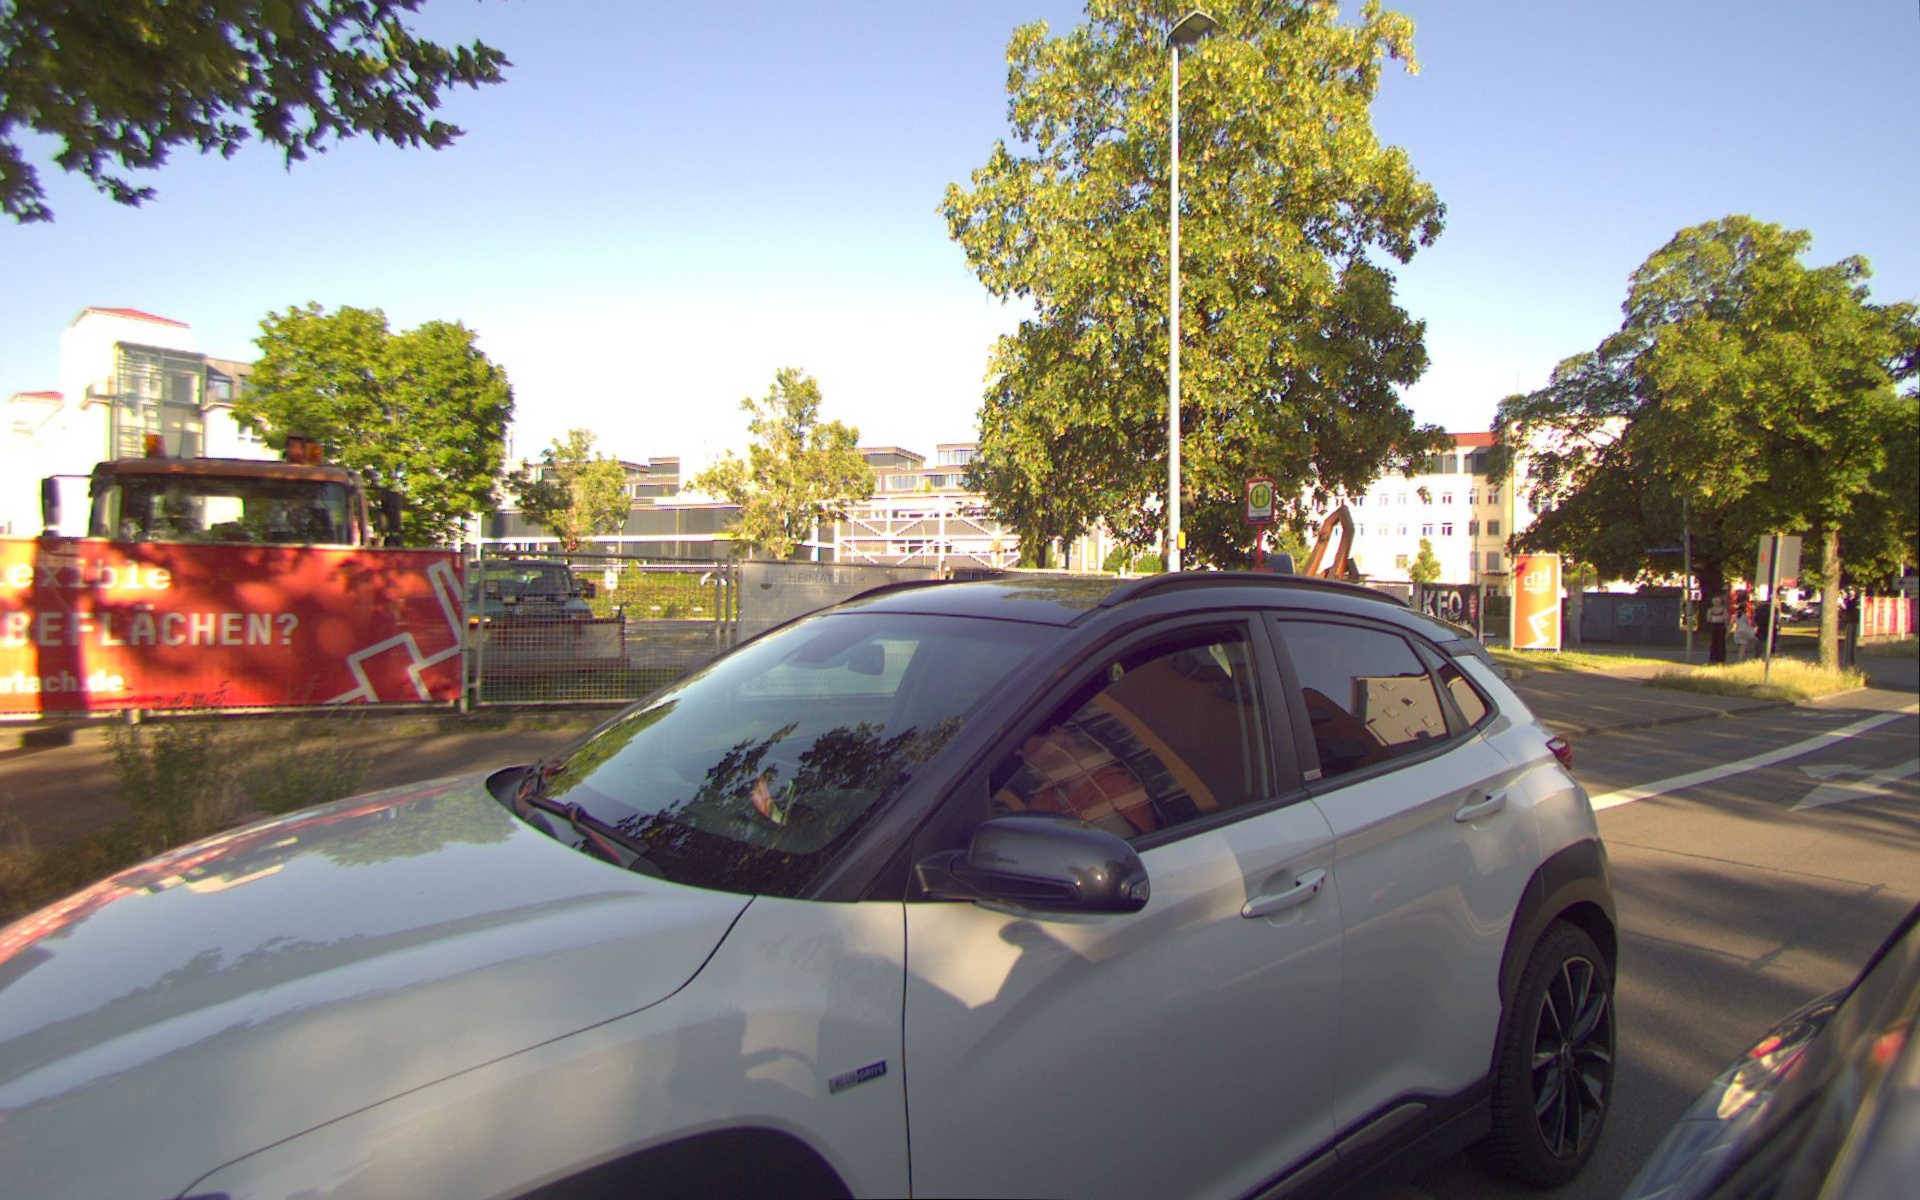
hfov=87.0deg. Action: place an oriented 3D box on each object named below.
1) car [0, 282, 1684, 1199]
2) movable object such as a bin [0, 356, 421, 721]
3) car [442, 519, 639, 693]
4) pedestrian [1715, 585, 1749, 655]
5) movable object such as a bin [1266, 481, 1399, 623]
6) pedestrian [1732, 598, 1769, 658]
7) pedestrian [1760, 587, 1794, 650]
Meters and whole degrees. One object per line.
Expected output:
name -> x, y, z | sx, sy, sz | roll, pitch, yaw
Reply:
car -> 0.002, 0.645, 2.446 | 3.893, 1.618, 1.894 | 3, -2, -39
movable object such as a bin -> -8.389, -0.552, 12.057 | 3.154, 3.087, 6.295 | 0, 0, -31
car -> -5.665, 0.040, 13.296 | 2.001, 1.851, 4.612 | 0, 0, -28
pedestrian -> 19.570, 0.497, 25.651 | 0.607, 1.759, 0.629 | 0, 0, 44
movable object such as a bin -> 15.524, -1.889, 42.764 | 3.910, 5.547, 6.022 | 0, 0, 6
pedestrian -> 19.437, 0.672, 24.885 | 0.627, 1.452, 0.609 | 0, 0, -40
pedestrian -> 22.523, 0.502, 27.901 | 0.692, 1.689, 0.630 | 0, 0, 38
